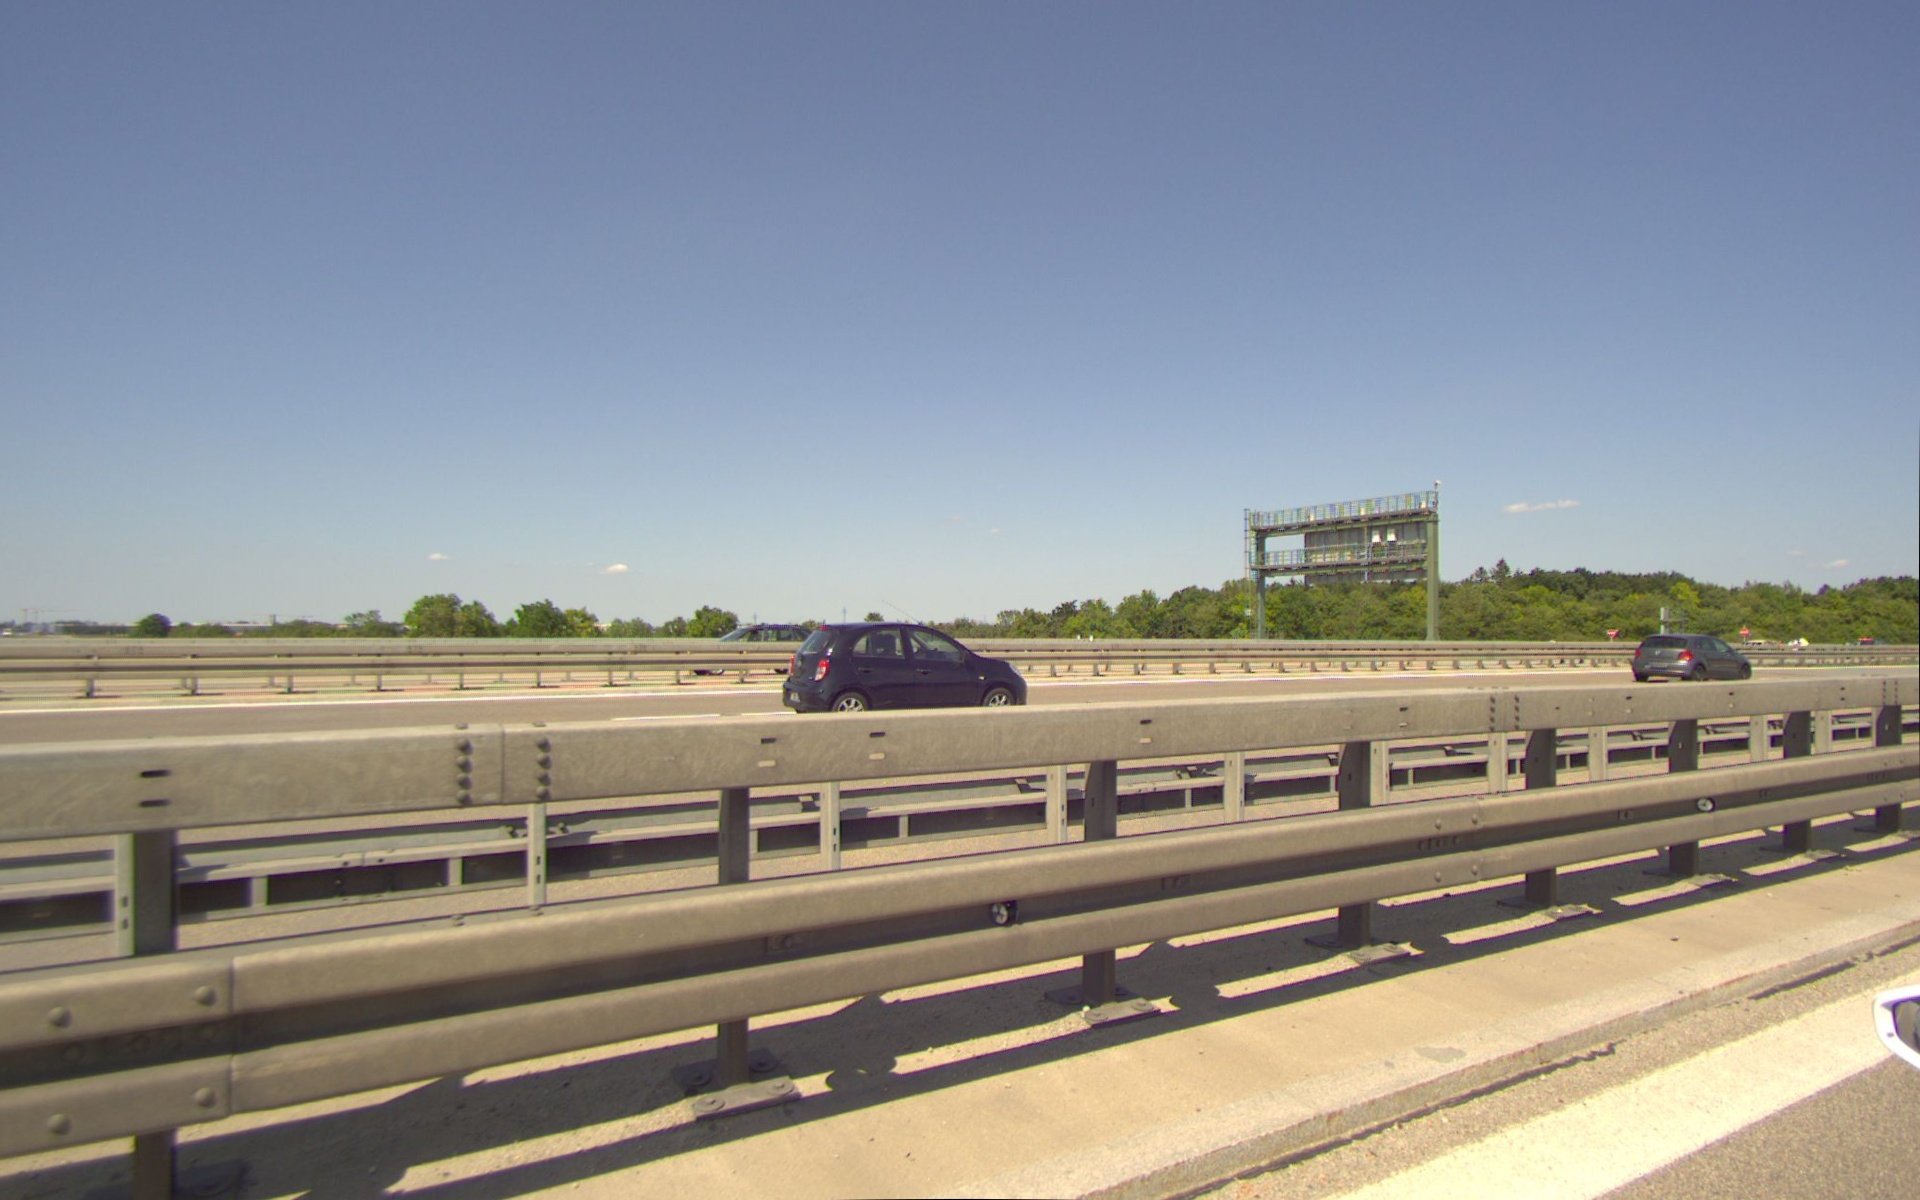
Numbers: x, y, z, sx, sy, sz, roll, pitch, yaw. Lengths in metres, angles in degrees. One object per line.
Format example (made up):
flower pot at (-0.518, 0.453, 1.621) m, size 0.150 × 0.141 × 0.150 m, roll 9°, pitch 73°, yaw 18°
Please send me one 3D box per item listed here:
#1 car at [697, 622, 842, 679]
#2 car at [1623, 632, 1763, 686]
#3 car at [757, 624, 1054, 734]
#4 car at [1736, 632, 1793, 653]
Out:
car at (-5.767, 1.495, 30.481) m, size 3.953 × 1.617 × 1.771 m, roll 1°, pitch -1°, yaw -30°
car at (21.604, 1.697, 29.578) m, size 4.165 × 1.441 × 1.755 m, roll 1°, pitch -1°, yaw -29°
car at (-0.799, 1.117, 15.315) m, size 4.166 × 1.452 × 1.822 m, roll 1°, pitch -1°, yaw -29°
car at (61.143, 3.192, 76.361) m, size 4.476 × 1.537 × 1.830 m, roll 1°, pitch -1°, yaw -29°
